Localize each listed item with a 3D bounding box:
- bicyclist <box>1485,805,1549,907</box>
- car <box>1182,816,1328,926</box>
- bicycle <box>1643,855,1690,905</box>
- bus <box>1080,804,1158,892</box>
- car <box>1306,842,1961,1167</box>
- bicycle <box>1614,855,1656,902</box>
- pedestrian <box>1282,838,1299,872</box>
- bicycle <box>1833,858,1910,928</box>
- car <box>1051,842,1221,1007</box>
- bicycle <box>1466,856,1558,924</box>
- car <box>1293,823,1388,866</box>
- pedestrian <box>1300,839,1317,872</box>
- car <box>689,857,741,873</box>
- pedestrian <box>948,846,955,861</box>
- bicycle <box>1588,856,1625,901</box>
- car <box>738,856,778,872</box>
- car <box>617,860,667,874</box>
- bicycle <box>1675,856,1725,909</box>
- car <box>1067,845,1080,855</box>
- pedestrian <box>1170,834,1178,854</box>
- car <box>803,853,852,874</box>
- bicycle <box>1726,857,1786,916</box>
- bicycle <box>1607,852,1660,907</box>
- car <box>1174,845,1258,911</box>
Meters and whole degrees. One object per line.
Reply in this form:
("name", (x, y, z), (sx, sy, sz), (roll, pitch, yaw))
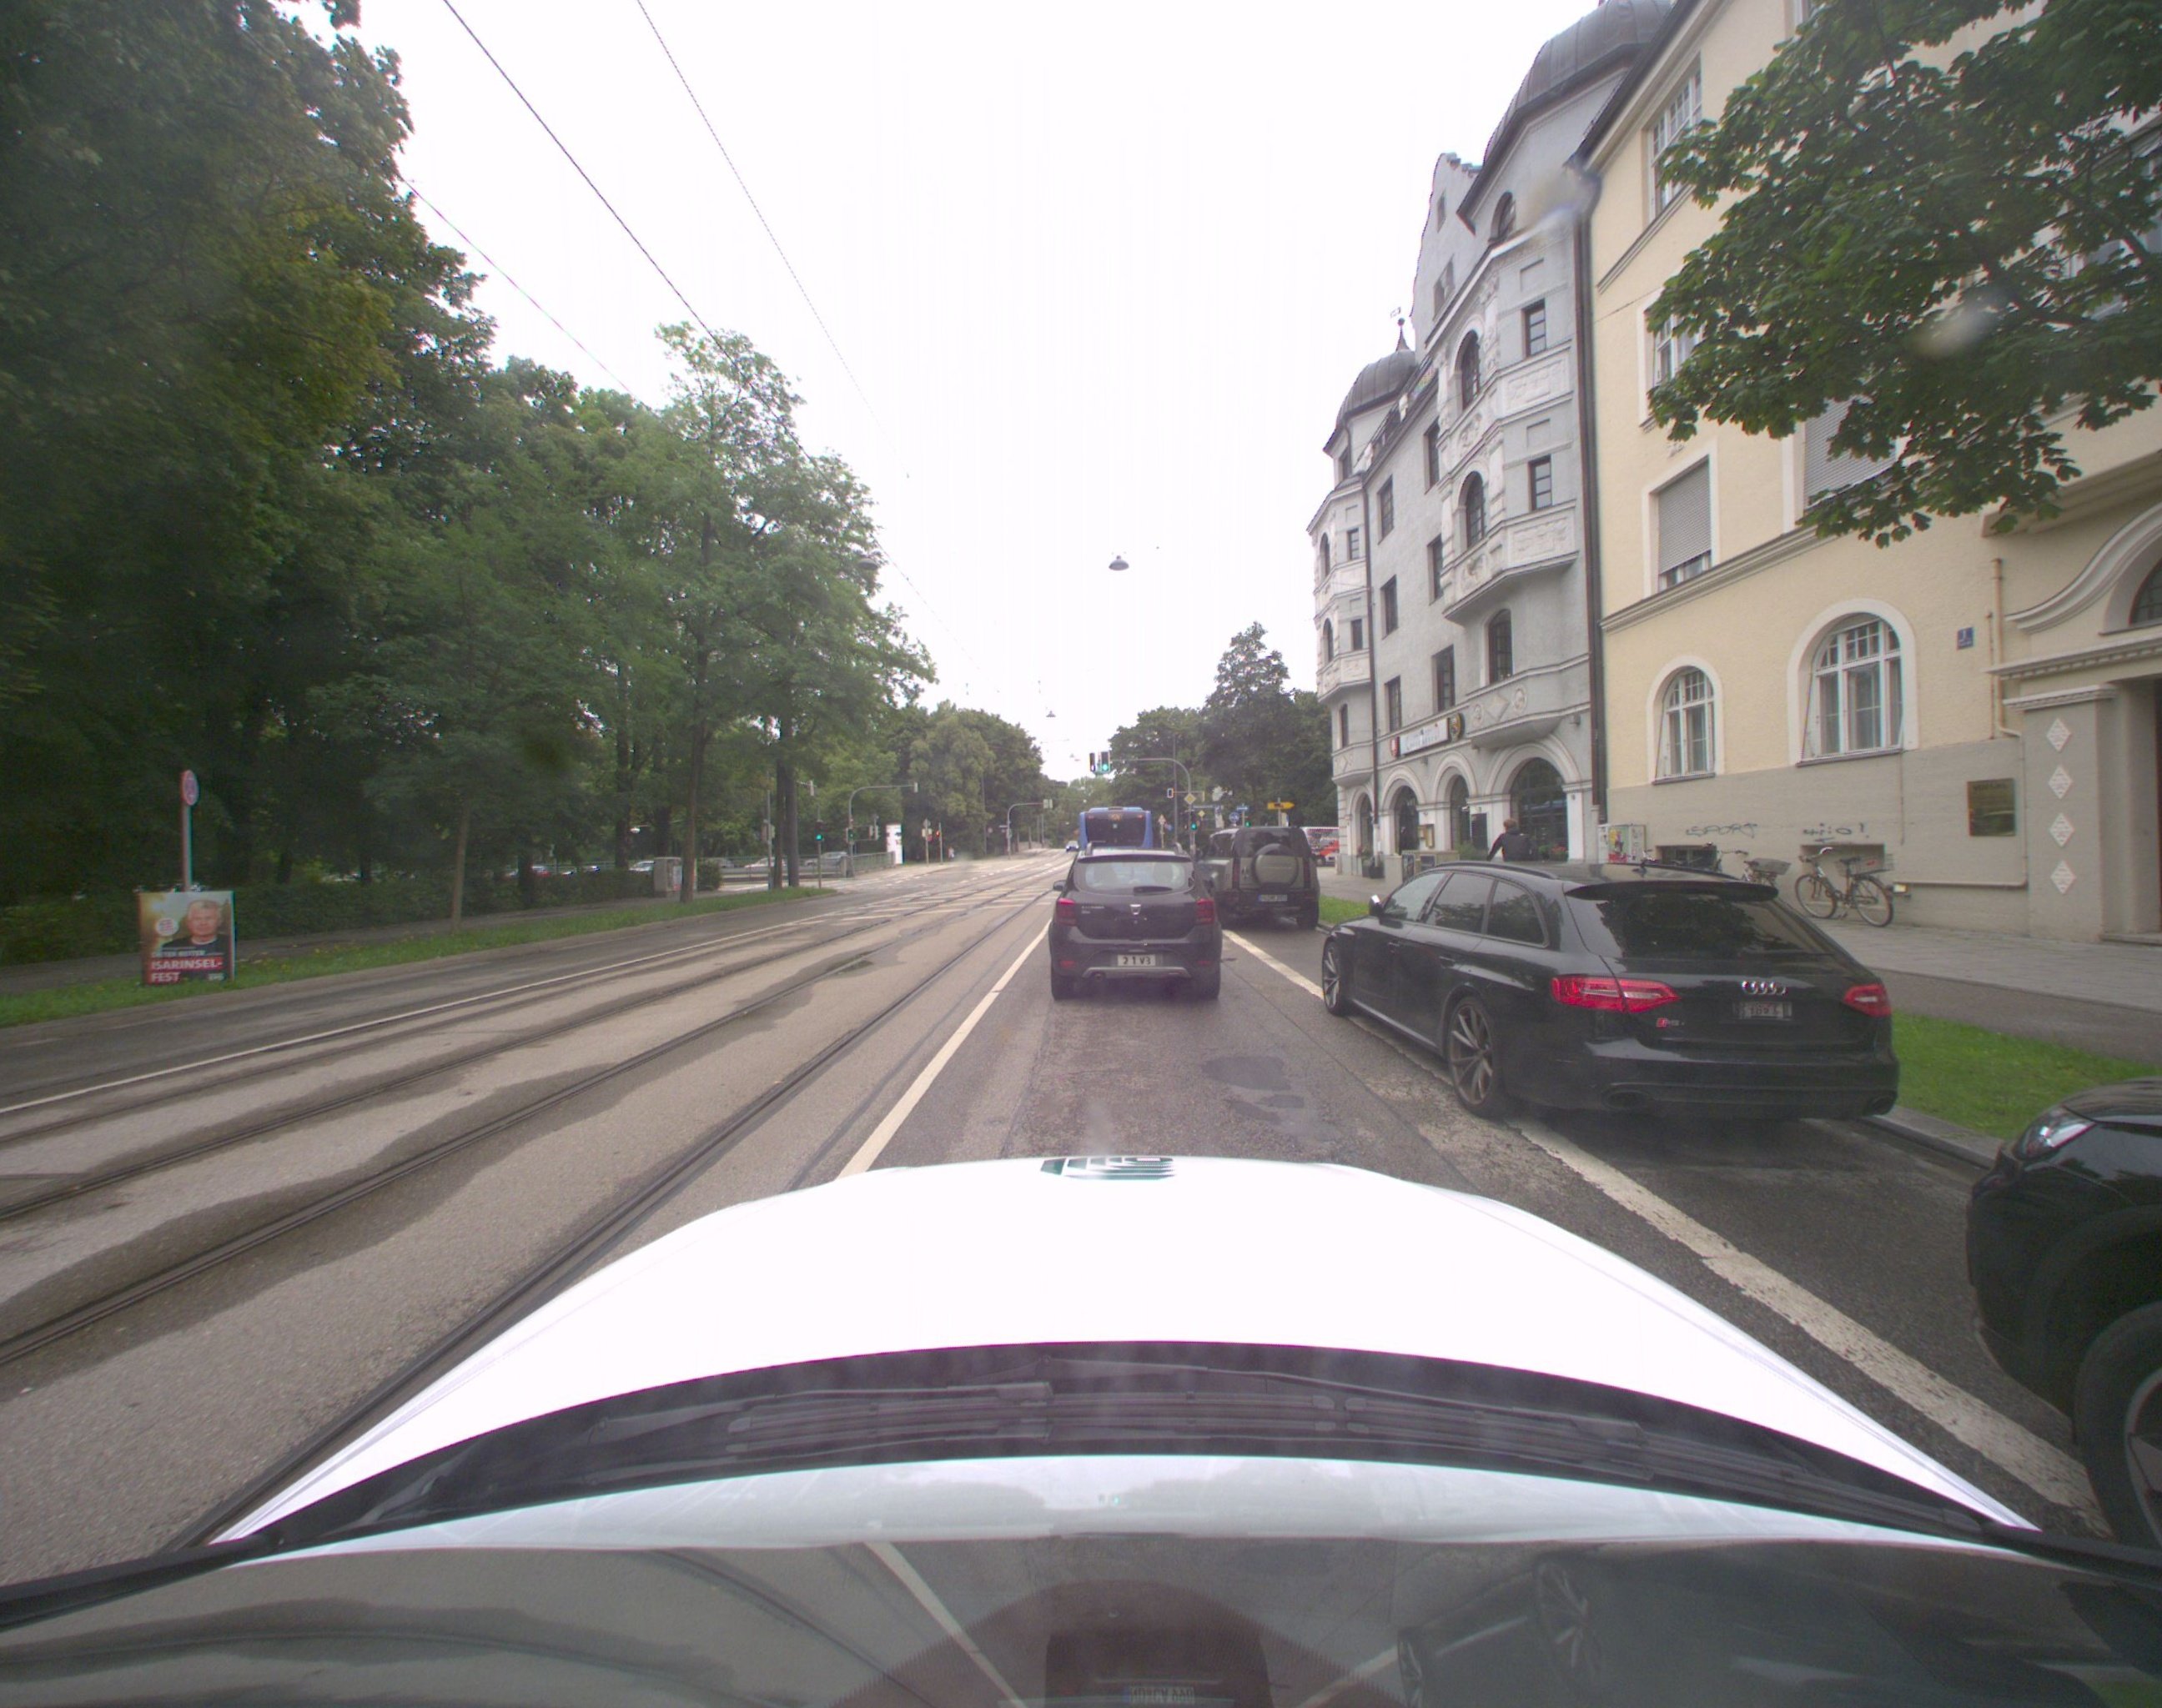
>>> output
("bicyclist", (7.572, 0.035, 14.166), (0.722, 1.729, 0.726), (0, 0, 1))
("car", (3.320, 0.299, 16.533), (1.908, 1.905, 4.807), (0, 0, 0))
("bicycle", (11.192, 0.485, 15.595), (0.304, 0.930, 0.886), (0, 0, 4))
("bus", (1.293, -0.206, 31.020), (2.670, 2.997, 6.960), (0, 0, 0))
("car", (3.063, 0.659, 5.883), (1.709, 1.426, 4.603), (0, 0, 1))
("bicycle", (11.256, 0.490, 16.555), (0.289, 0.930, 0.886), (0, 0, 3))
("pedestrian", (11.295, 0.044, 43.890), (0.702, 1.816, 0.870), (0, 0, 2))
("bicycle", (10.990, 0.523, 11.346), (0.220, 0.930, 0.886), (0, 0, 1))
("car", (0.559, 0.663, 9.431), (1.595, 1.556, 3.526), (0, 0, 1))
("bicycle", (7.572, 0.597, 14.412), (0.577, 1.078, 1.912), (-4, 0, 1))
("car", (16.291, -0.584, 51.284), (5.281, 2.612, 2.229), (0, 0, -2))
("pedestrian", (12.105, 0.061, 43.360), (0.702, 1.732, 0.843), (0, 0, 2))
("car", (-32.978, 1.020, 73.397), (3.915, 1.404, 1.719), (0, 0, -3))
("pedestrian", (-12.854, -0.053, 81.011), (0.529, 1.501, 0.589), (0, 0, 6))
("bicycle", (11.284, 0.518, 17.492), (0.258, 0.930, 0.886), (0, 0, 3))
("car", (-29.146, 0.898, 73.567), (3.103, 1.452, 1.249), (0, 0, -4))
("car", (-39.406, 1.161, 73.117), (3.720, 1.185, 1.249), (0, 0, -4))
("bicycle", (11.101, 0.500, 14.627), (0.271, 0.930, 0.886), (0, 0, 3))
("car", (-1.045, -0.600, 111.869), (1.782, 1.370, 3.400), (0, 0, 0))
("pedestrian", (9.886, -1.091, 86.465), (0.760, 2.116, 0.854), (-2, 0, 2))
("car", (-23.021, 0.843, 74.090), (4.015, 1.887, 1.488), (0, 0, -5))
("bicycle", (11.000, 0.509, 13.292), (0.284, 0.930, 0.886), (0, 0, 3))
("bicycle", (10.814, 0.489, 15.975), (0.241, 1.039, 1.224), (0, 0, 2))
("car", (3.520, 0.575, 21.938), (1.708, 1.591, 4.329), (0, 0, 2))
